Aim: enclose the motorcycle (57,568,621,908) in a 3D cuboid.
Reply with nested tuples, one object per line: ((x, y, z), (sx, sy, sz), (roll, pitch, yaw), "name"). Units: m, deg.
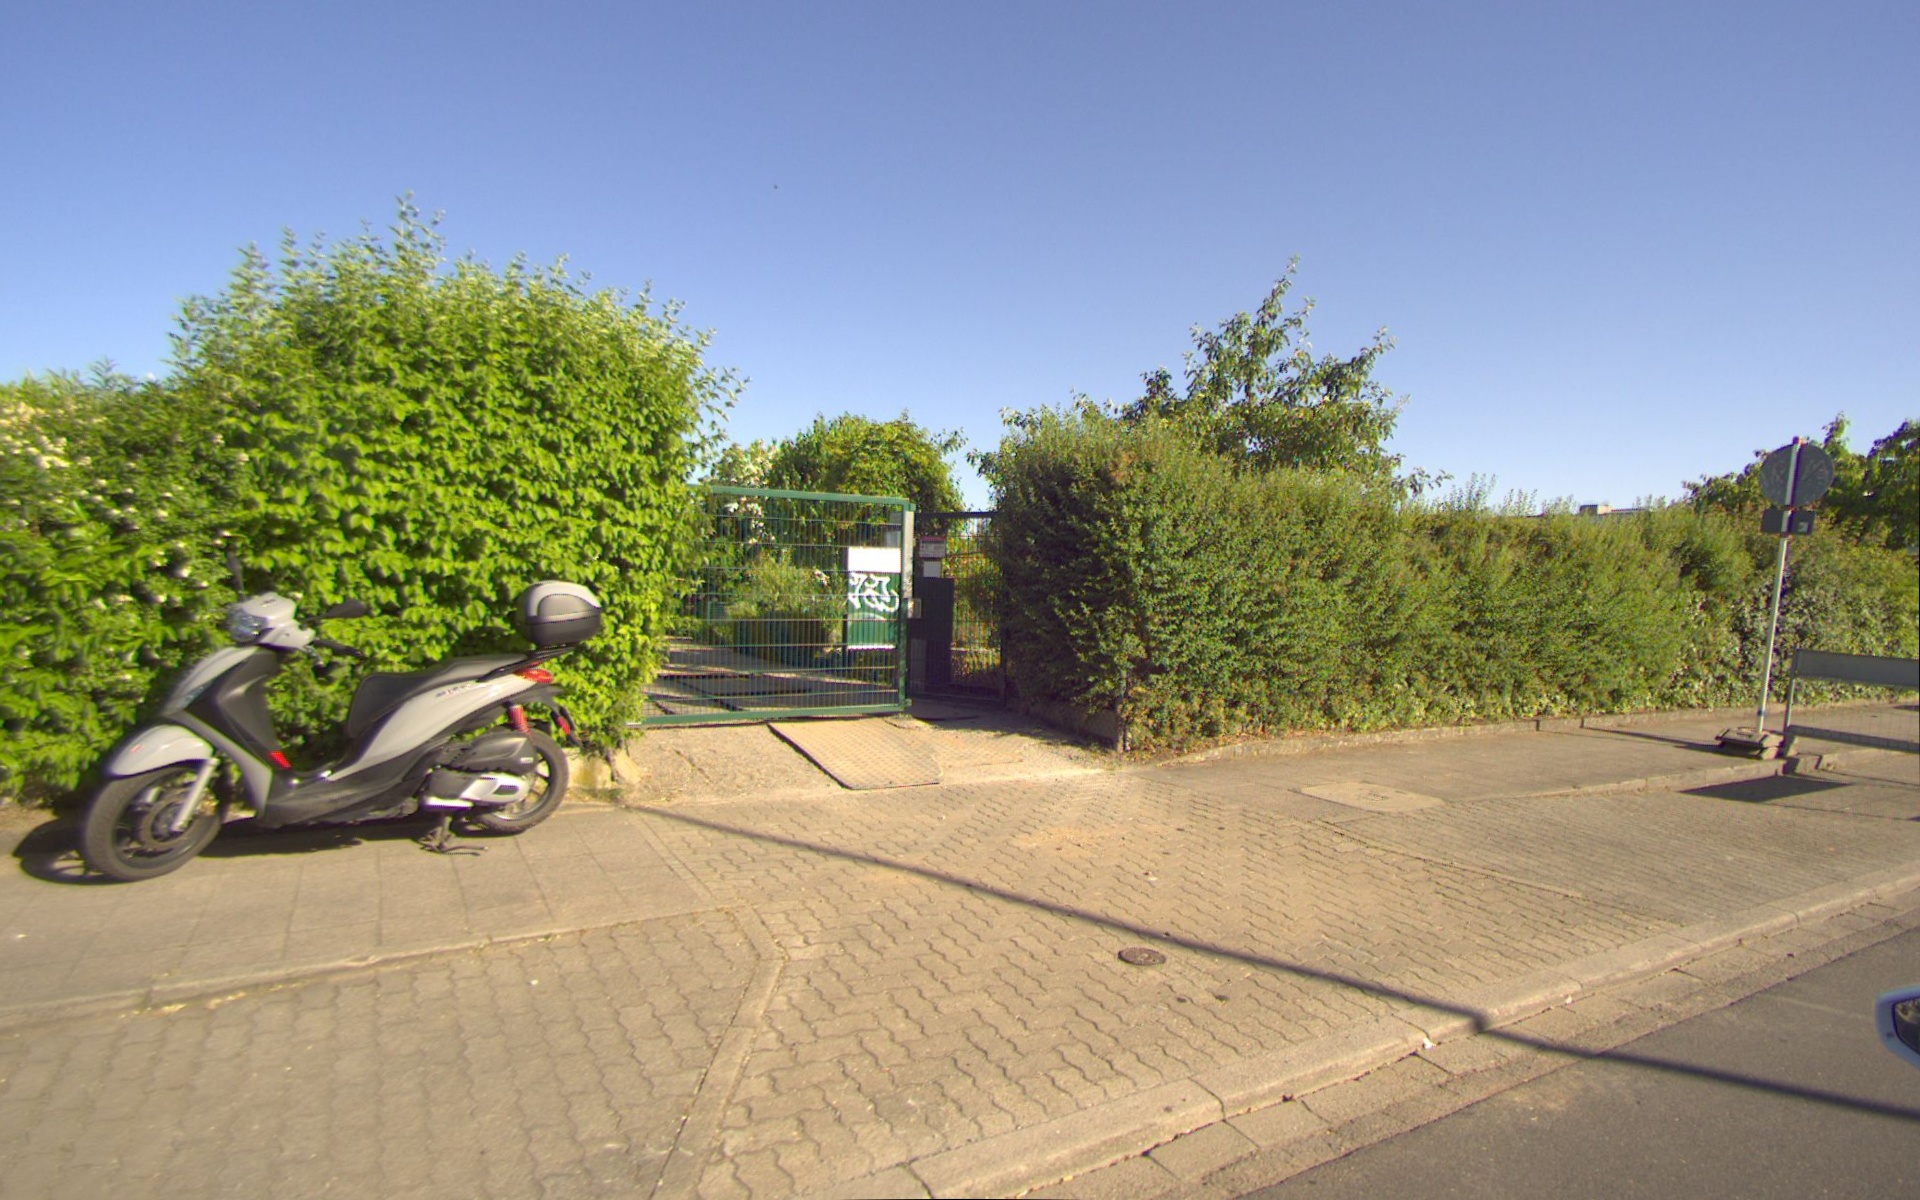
((-2.712, 0.549, 4.628), (2.070, 1.285, 0.563), (2, 1, -35), "motorcycle")
